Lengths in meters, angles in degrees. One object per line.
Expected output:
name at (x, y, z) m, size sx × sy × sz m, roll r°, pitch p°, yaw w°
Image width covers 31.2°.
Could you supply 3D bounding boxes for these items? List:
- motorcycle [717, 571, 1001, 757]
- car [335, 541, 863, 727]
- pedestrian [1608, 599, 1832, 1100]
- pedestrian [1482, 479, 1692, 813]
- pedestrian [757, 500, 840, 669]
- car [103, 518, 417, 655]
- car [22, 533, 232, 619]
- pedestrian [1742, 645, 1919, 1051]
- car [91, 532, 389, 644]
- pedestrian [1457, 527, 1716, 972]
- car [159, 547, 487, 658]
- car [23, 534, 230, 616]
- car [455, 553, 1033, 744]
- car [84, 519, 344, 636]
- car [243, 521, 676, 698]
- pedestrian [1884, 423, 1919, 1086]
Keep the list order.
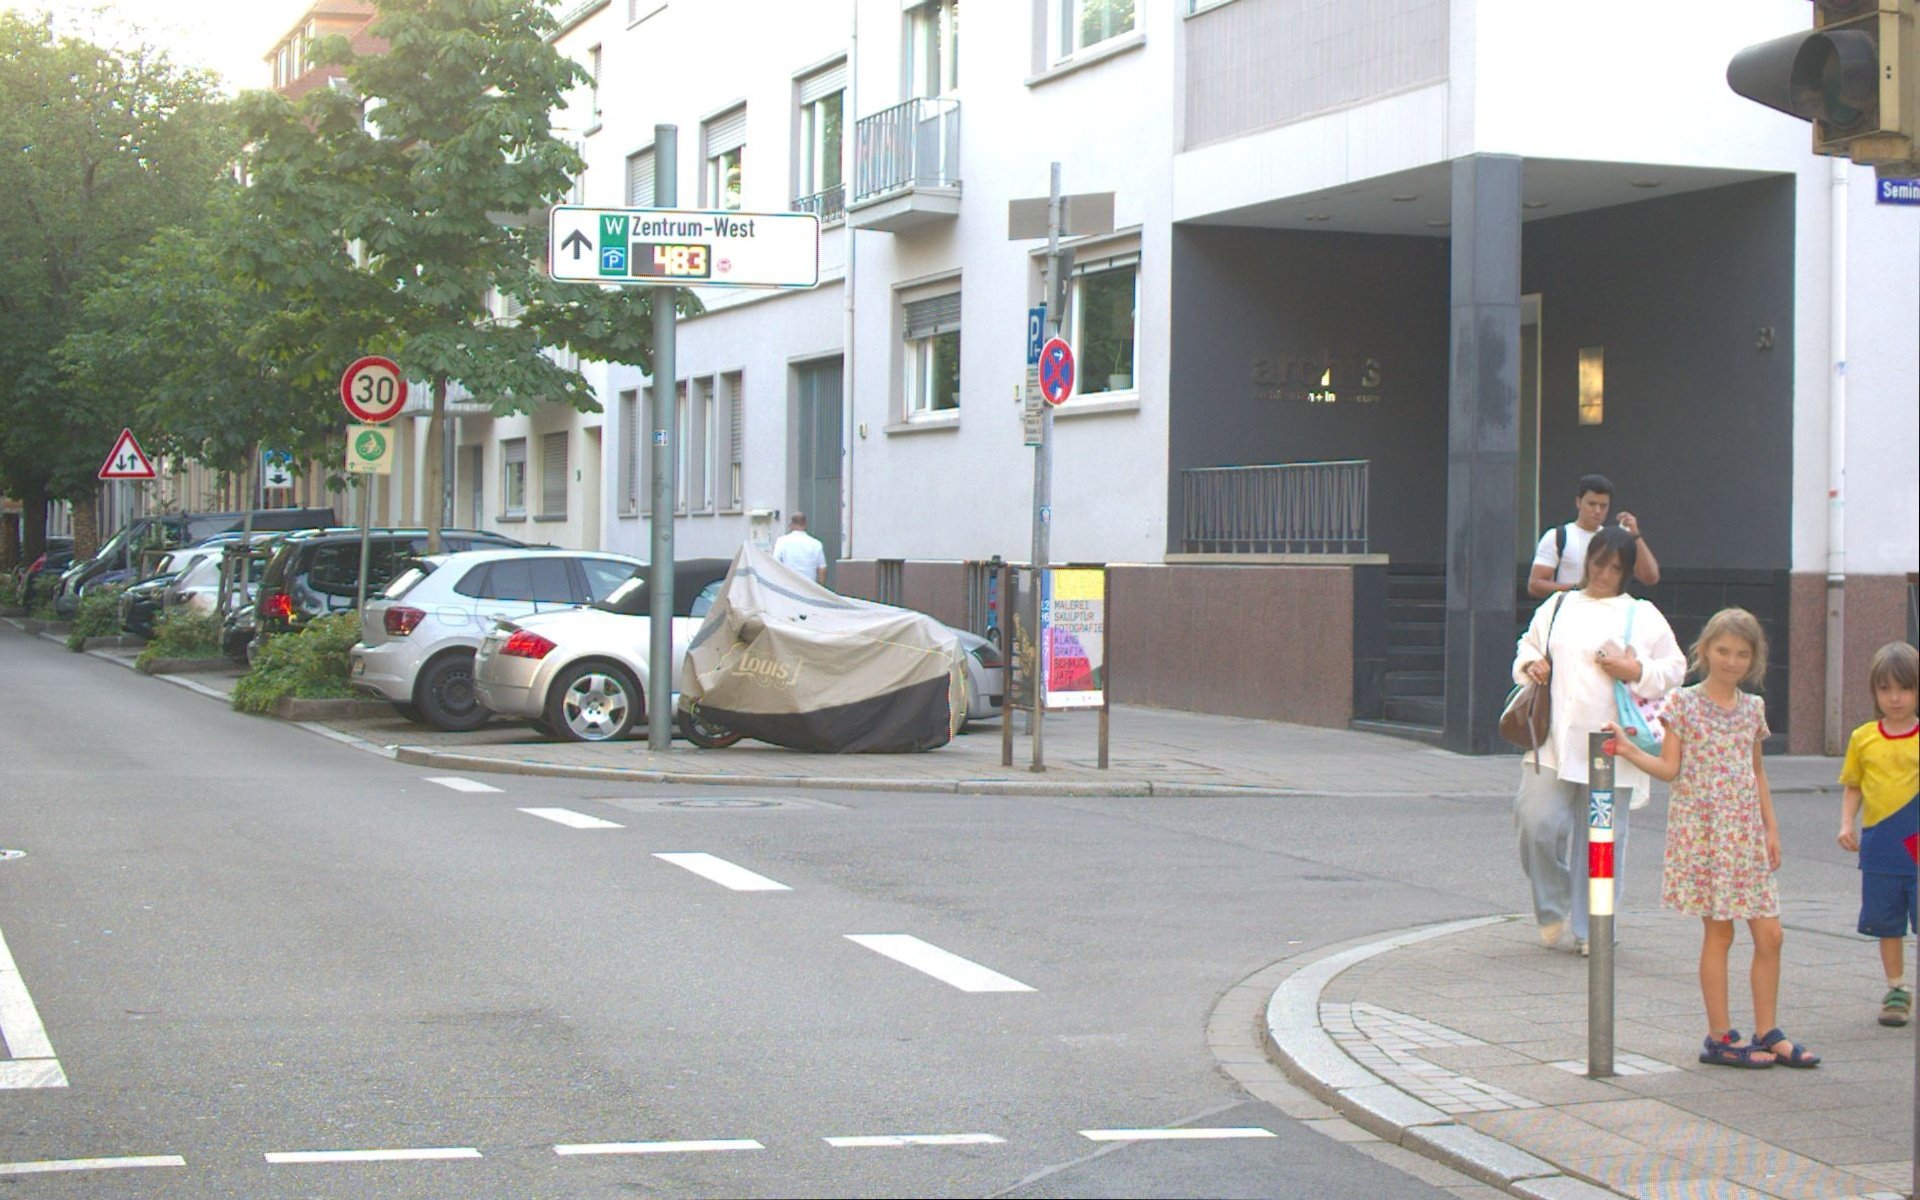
motorcycle at (-0.671, 0.414, 22.659) m, size 1.799 × 1.195 × 0.613 m, roll 0°, pitch 1°, yaw -9°
car at (-2.959, 0.250, 28.036) m, size 4.013 × 1.437 × 1.707 m, roll 0°, pitch 1°, yaw -18°
pedestrian at (2.098, 0.671, 9.531) m, size 0.505 × 1.331 × 0.541 m, roll 1°, pitch 1°, yaw 5°
pedestrian at (3.535, 0.249, 19.449) m, size 0.766 × 1.835 × 0.944 m, roll 1°, pitch 1°, yaw -17°
pedestrian at (-1.705, -0.168, 36.238) m, size 0.703 × 1.746 × 0.700 m, roll 1°, pitch 1°, yaw -14°
car at (-9.561, -0.194, 46.905) m, size 4.013 × 1.809 × 1.707 m, roll 0°, pitch 1°, yaw -18°
car at (-16.638, -0.483, 68.808) m, size 3.977 × 1.572 × 1.911 m, roll 2°, pitch 0°, yaw -12°
pedestrian at (2.829, 0.716, 10.227) m, size 0.565 × 1.117 × 0.837 m, roll -1°, pitch 2°, yaw -29°
car at (-10.405, -0.171, 49.636) m, size 4.013 × 1.525 × 1.707 m, roll 1°, pitch 1°, yaw -18°
pedestrian at (2.208, 0.497, 12.054) m, size 0.774 × 1.496 × 0.801 m, roll 0°, pitch 1°, yaw 19°
car at (-8.324, 0.021, 44.886) m, size 4.013 × 1.404 × 1.707 m, roll 0°, pitch 1°, yaw -18°
car at (-17.188, -0.520, 70.861) m, size 4.013 × 1.596 × 1.707 m, roll 1°, pitch 1°, yaw -18°
car at (-1.633, 0.331, 25.702) m, size 4.013 × 1.338 × 1.707 m, roll 0°, pitch 1°, yaw -17°
car at (-12.308, -0.372, 56.676) m, size 4.013 × 1.824 × 1.707 m, roll 1°, pitch 1°, yaw -18°
car at (-4.975, 0.072, 34.116) m, size 4.013 × 1.684 × 1.707 m, roll 0°, pitch 1°, yaw -18°
pedestrian at (3.071, 0.410, 9.627) m, size 0.889 × 1.809 × 0.793 m, roll 1°, pitch 3°, yaw 16°
